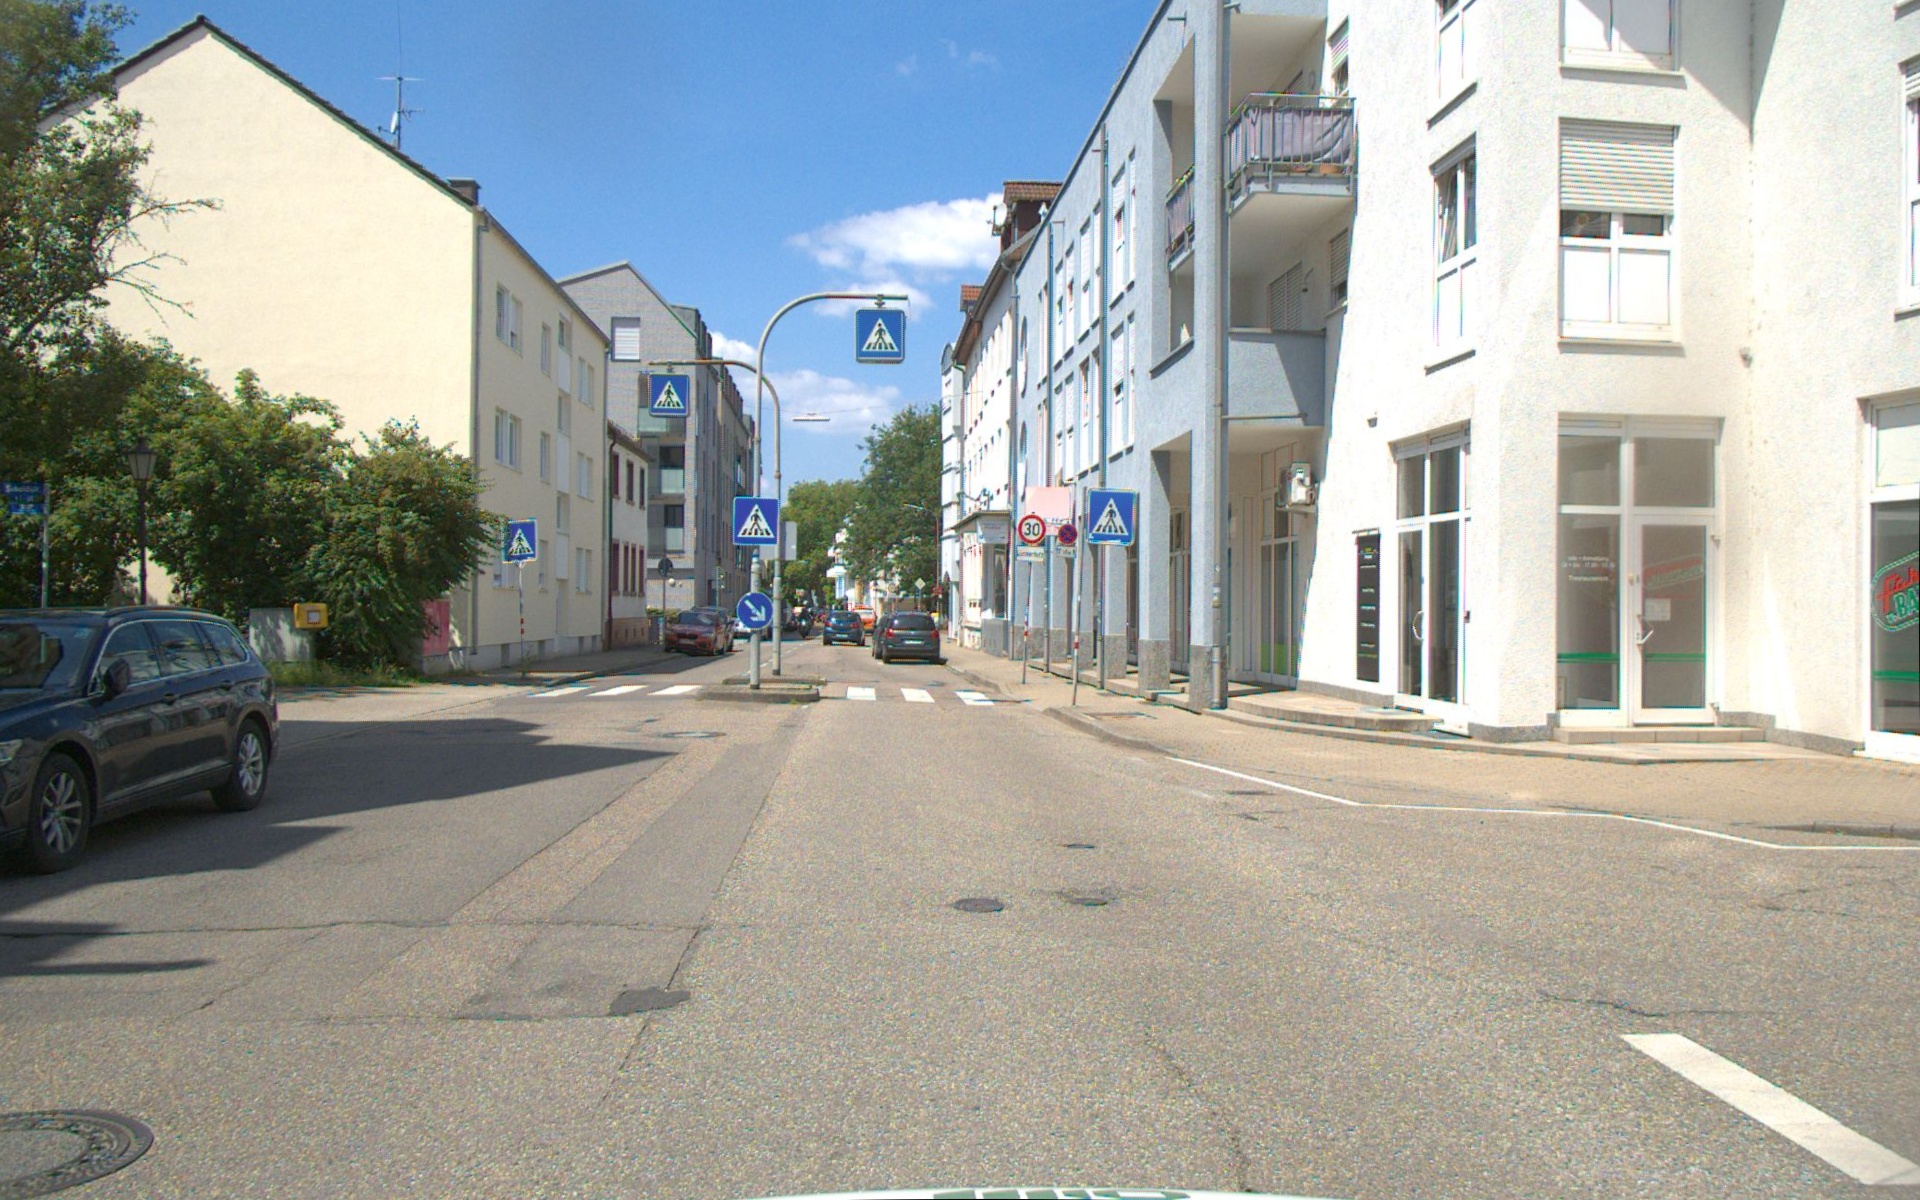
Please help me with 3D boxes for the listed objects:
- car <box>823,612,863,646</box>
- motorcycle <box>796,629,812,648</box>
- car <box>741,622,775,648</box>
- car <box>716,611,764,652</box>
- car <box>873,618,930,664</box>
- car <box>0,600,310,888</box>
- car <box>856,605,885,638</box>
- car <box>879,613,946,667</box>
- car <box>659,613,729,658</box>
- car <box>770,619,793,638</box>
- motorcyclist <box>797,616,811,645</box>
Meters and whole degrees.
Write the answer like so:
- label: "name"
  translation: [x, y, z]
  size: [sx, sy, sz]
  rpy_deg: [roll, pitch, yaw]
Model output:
- label: "car"
  translation: [-5.096, 1.248, 72.147]
  size: [1.681, 1.427, 3.997]
  rpy_deg: [0, 0, -4]
- label: "motorcycle"
  translation: [-9.165, 2.251, 97.230]
  size: [0.698, 1.046, 2.239]
  rpy_deg: [0, 0, 0]
- label: "car"
  translation: [-11.841, 2.042, 97.182]
  size: [1.689, 1.482, 4.002]
  rpy_deg: [2, -1, -3]
- label: "car"
  translation: [-11.085, 1.565, 83.570]
  size: [1.721, 1.925, 4.336]
  rpy_deg: [3, -1, 0]
- label: "car"
  translation: [-1.977, 1.326, 54.614]
  size: [1.695, 1.445, 4.540]
  rpy_deg: [1, -1, -4]
- label: "car"
  translation: [-5.896, 0.773, 10.632]
  size: [1.747, 1.484, 4.632]
  rpy_deg: [0, -1, -2]
- label: "car"
  translation: [-5.723, 1.379, 105.547]
  size: [1.802, 2.049, 3.997]
  rpy_deg: [1, 0, -4]
- label: "car"
  translation: [-1.453, 1.169, 49.149]
  size: [1.677, 1.534, 3.995]
  rpy_deg: [1, -1, -6]
- label: "car"
  translation: [-8.975, 1.193, 56.055]
  size: [1.797, 1.441, 4.288]
  rpy_deg: [1, -1, -2]
- label: "car"
  translation: [-14.150, 2.294, 131.581]
  size: [1.698, 1.467, 3.996]
  rpy_deg: [0, -1, -5]
- label: "motorcyclist"
  translation: [-9.174, 1.783, 97.230]
  size: [0.698, 1.663, 1.068]
  rpy_deg: [0, -1, -1]
